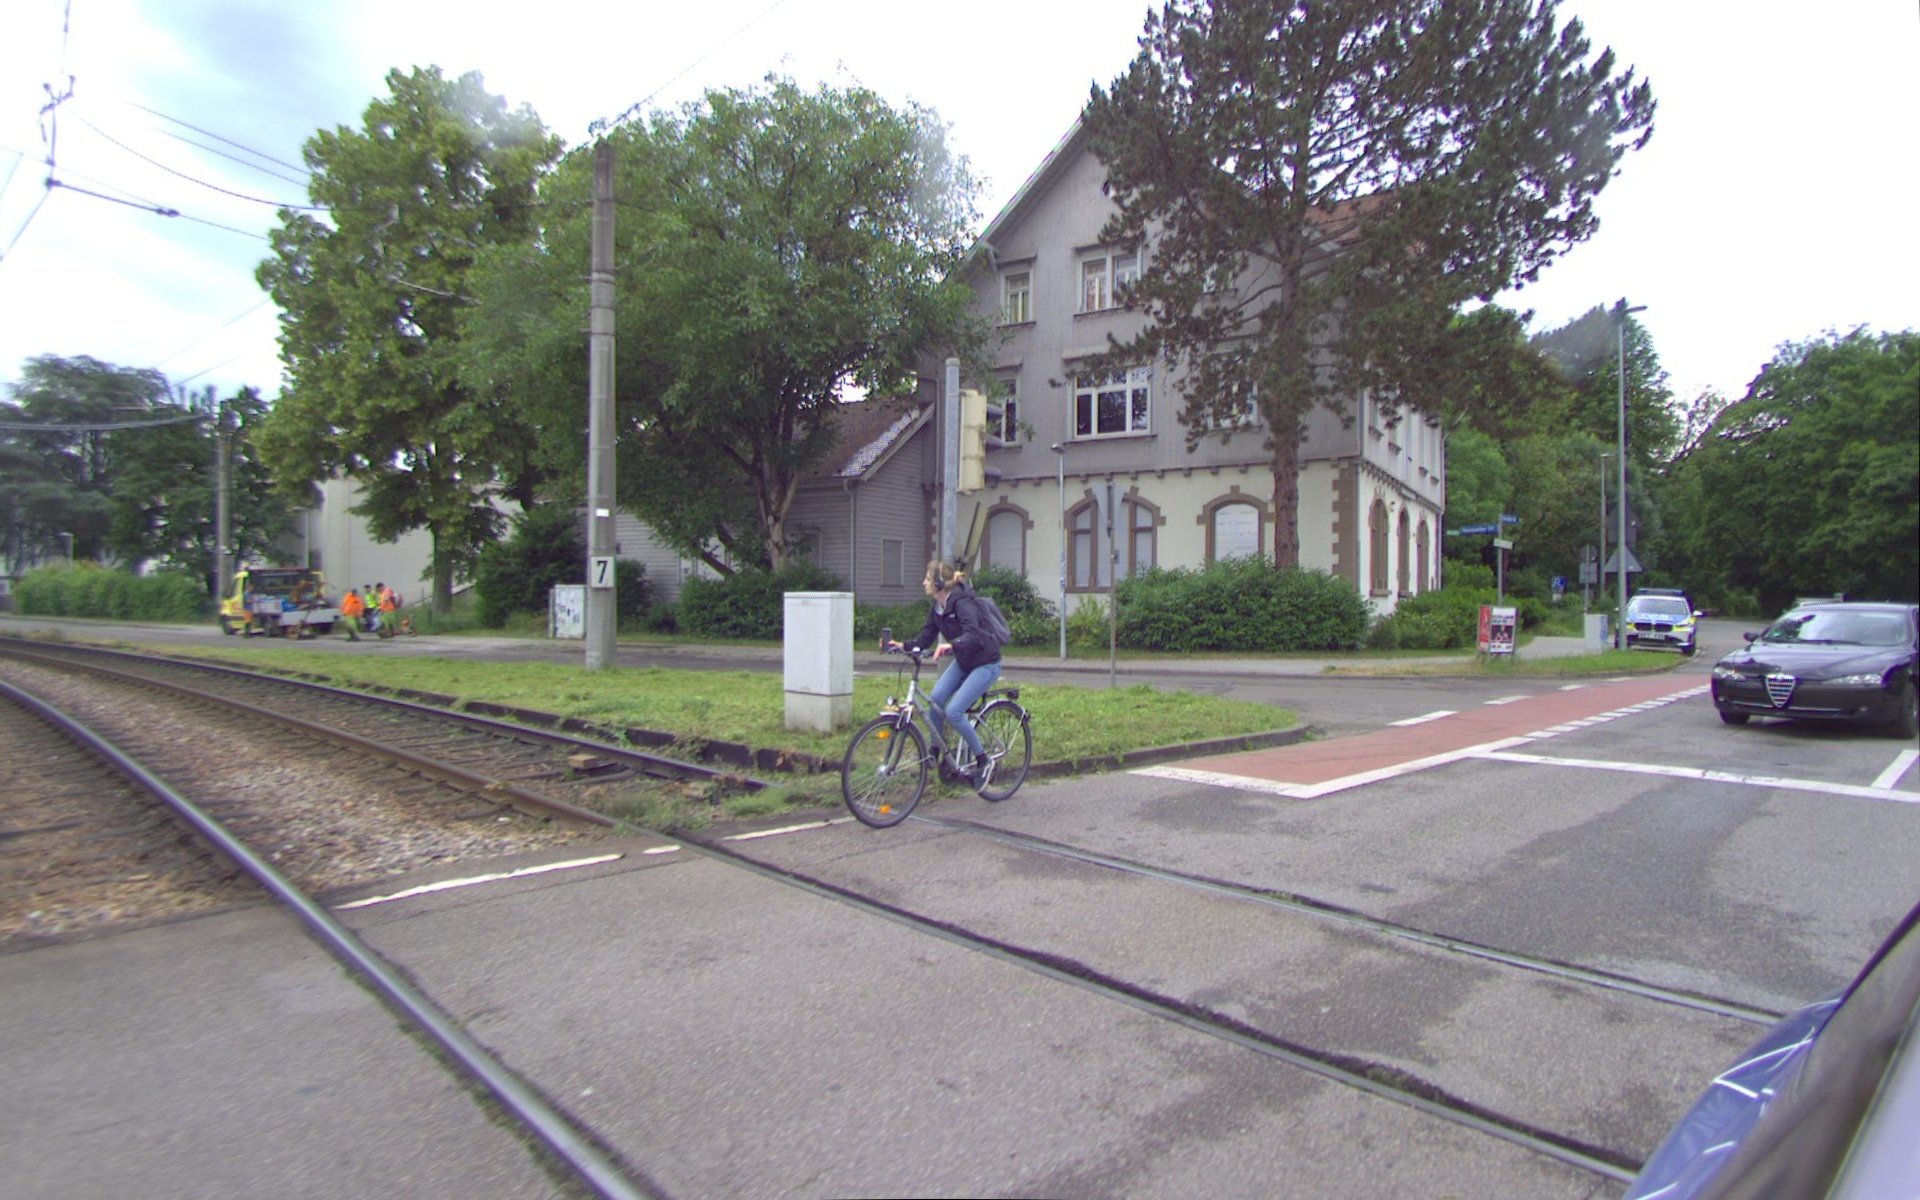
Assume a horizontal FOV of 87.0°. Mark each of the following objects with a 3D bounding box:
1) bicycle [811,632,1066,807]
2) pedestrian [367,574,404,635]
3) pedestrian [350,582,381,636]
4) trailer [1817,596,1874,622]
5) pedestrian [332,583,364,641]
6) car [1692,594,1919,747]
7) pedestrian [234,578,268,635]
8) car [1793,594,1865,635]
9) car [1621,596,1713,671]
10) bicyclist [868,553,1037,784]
[{"bbox_3d":[-0.077,0.742,6.889,1.995,0.993,0.383,0,0,-44],"label":"bicycle"},{"bbox_3d":[-18.120,0.154,31.908,0.858,1.878,0.679,2,-1,-41],"label":"pedestrian"},{"bbox_3d":[-20.842,0.309,35.507,0.699,1.863,0.609,1,-1,2],"label":"pedestrian"},{"bbox_3d":[39.371,0.365,45.062,1.562,0.998,3.421,1,2,36],"label":"trailer"},{"bbox_3d":[-19.093,0.369,31.567,0.570,1.784,0.630,1,0,27],"label":"pedestrian"},{"bbox_3d":[10.594,0.713,11.849,4.452,1.475,1.804,1,0,-33],"label":"car"},{"bbox_3d":[-23.901,0.225,34.123,0.600,1.892,0.762,1,-1,32],"label":"pedestrian"},{"bbox_3d":[41.367,0.665,48.272,2.080,1.881,4.170,0,0,34],"label":"car"},{"bbox_3d":[19.992,0.899,28.713,1.924,1.873,3.950,3,1,34],"label":"car"},{"bbox_3d":[-0.045,0.442,6.876,0.945,1.443,0.621,1,-4,-44],"label":"bicyclist"}]
